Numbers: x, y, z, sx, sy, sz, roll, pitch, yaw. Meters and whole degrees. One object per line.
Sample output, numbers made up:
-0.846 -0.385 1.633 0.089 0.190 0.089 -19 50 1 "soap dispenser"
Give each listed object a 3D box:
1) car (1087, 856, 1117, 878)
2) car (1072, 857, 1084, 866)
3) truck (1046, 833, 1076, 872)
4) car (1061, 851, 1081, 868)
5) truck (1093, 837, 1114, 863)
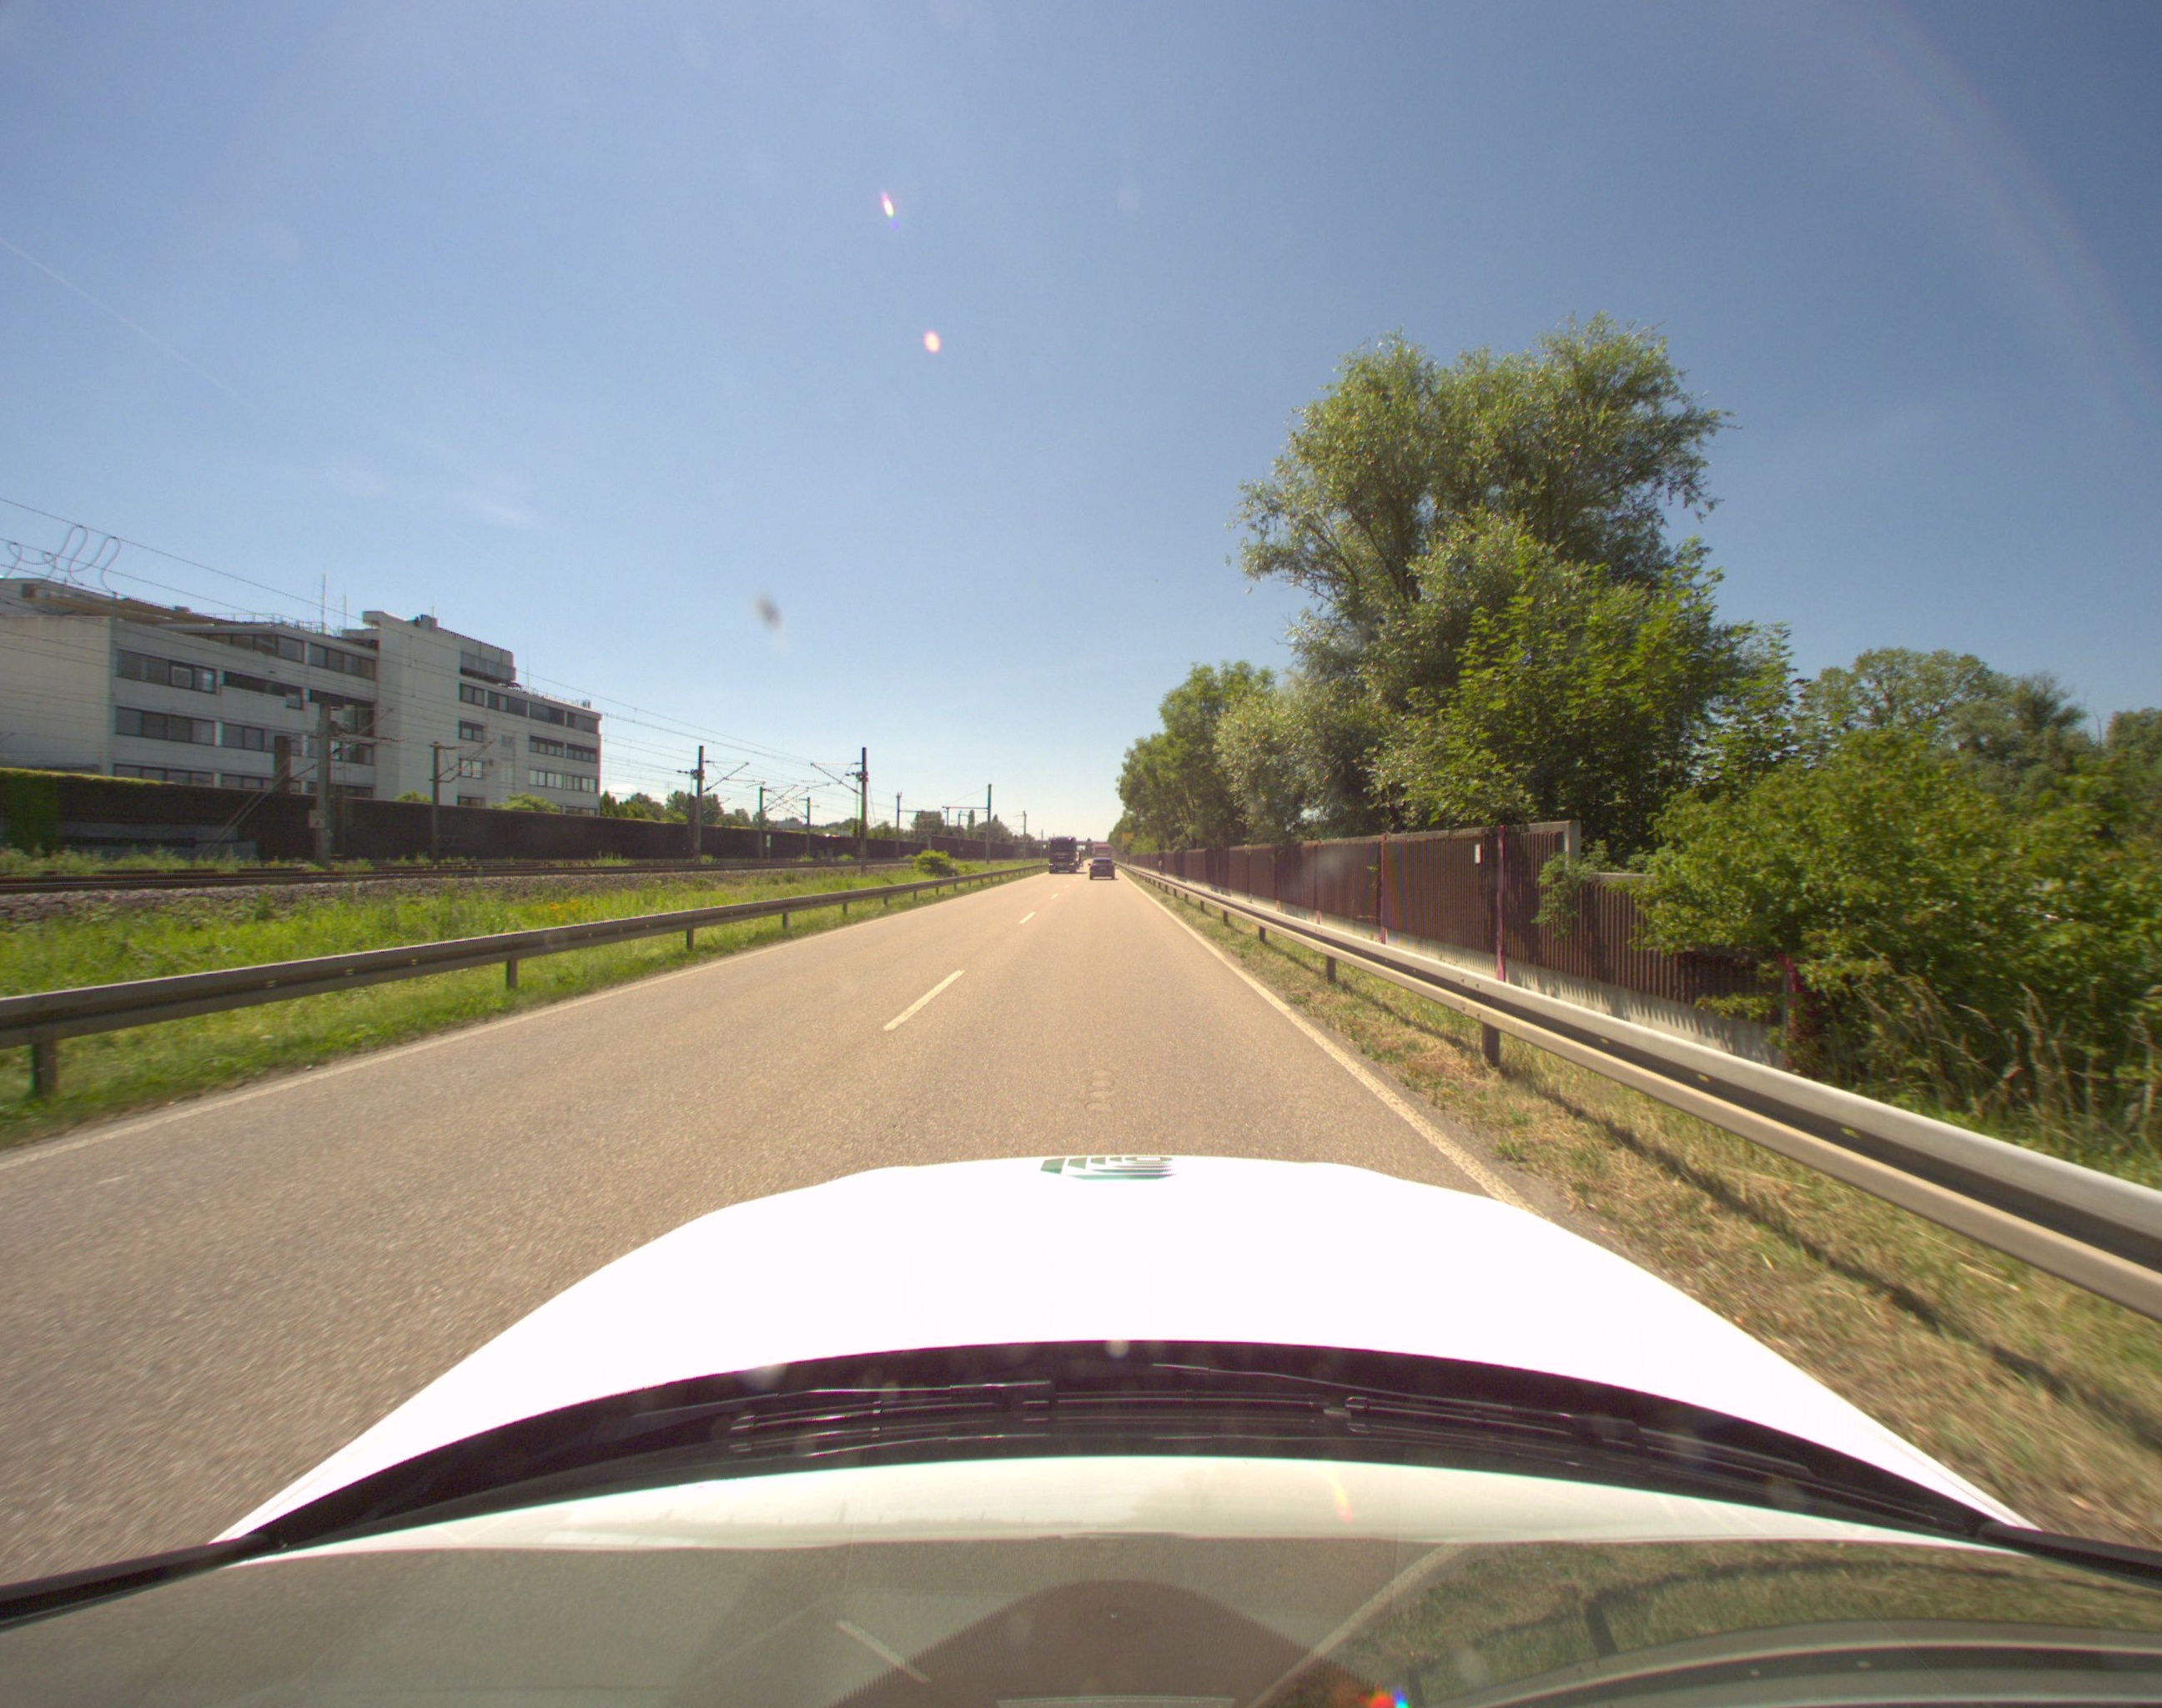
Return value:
1.459 0.920 58.514 1.987 1.508 3.999 -1 0 -1 "car"
-0.480 1.180 134.674 1.968 1.508 4.164 0 0 1 "car"
-1.884 -0.157 82.063 2.649 3.627 10.977 0 0 0 "truck"
-1.314 0.705 108.777 2.252 2.287 6.239 0 0 2 "car"
3.126 -0.517 112.462 2.760 3.425 10.823 0 0 2 "truck"
